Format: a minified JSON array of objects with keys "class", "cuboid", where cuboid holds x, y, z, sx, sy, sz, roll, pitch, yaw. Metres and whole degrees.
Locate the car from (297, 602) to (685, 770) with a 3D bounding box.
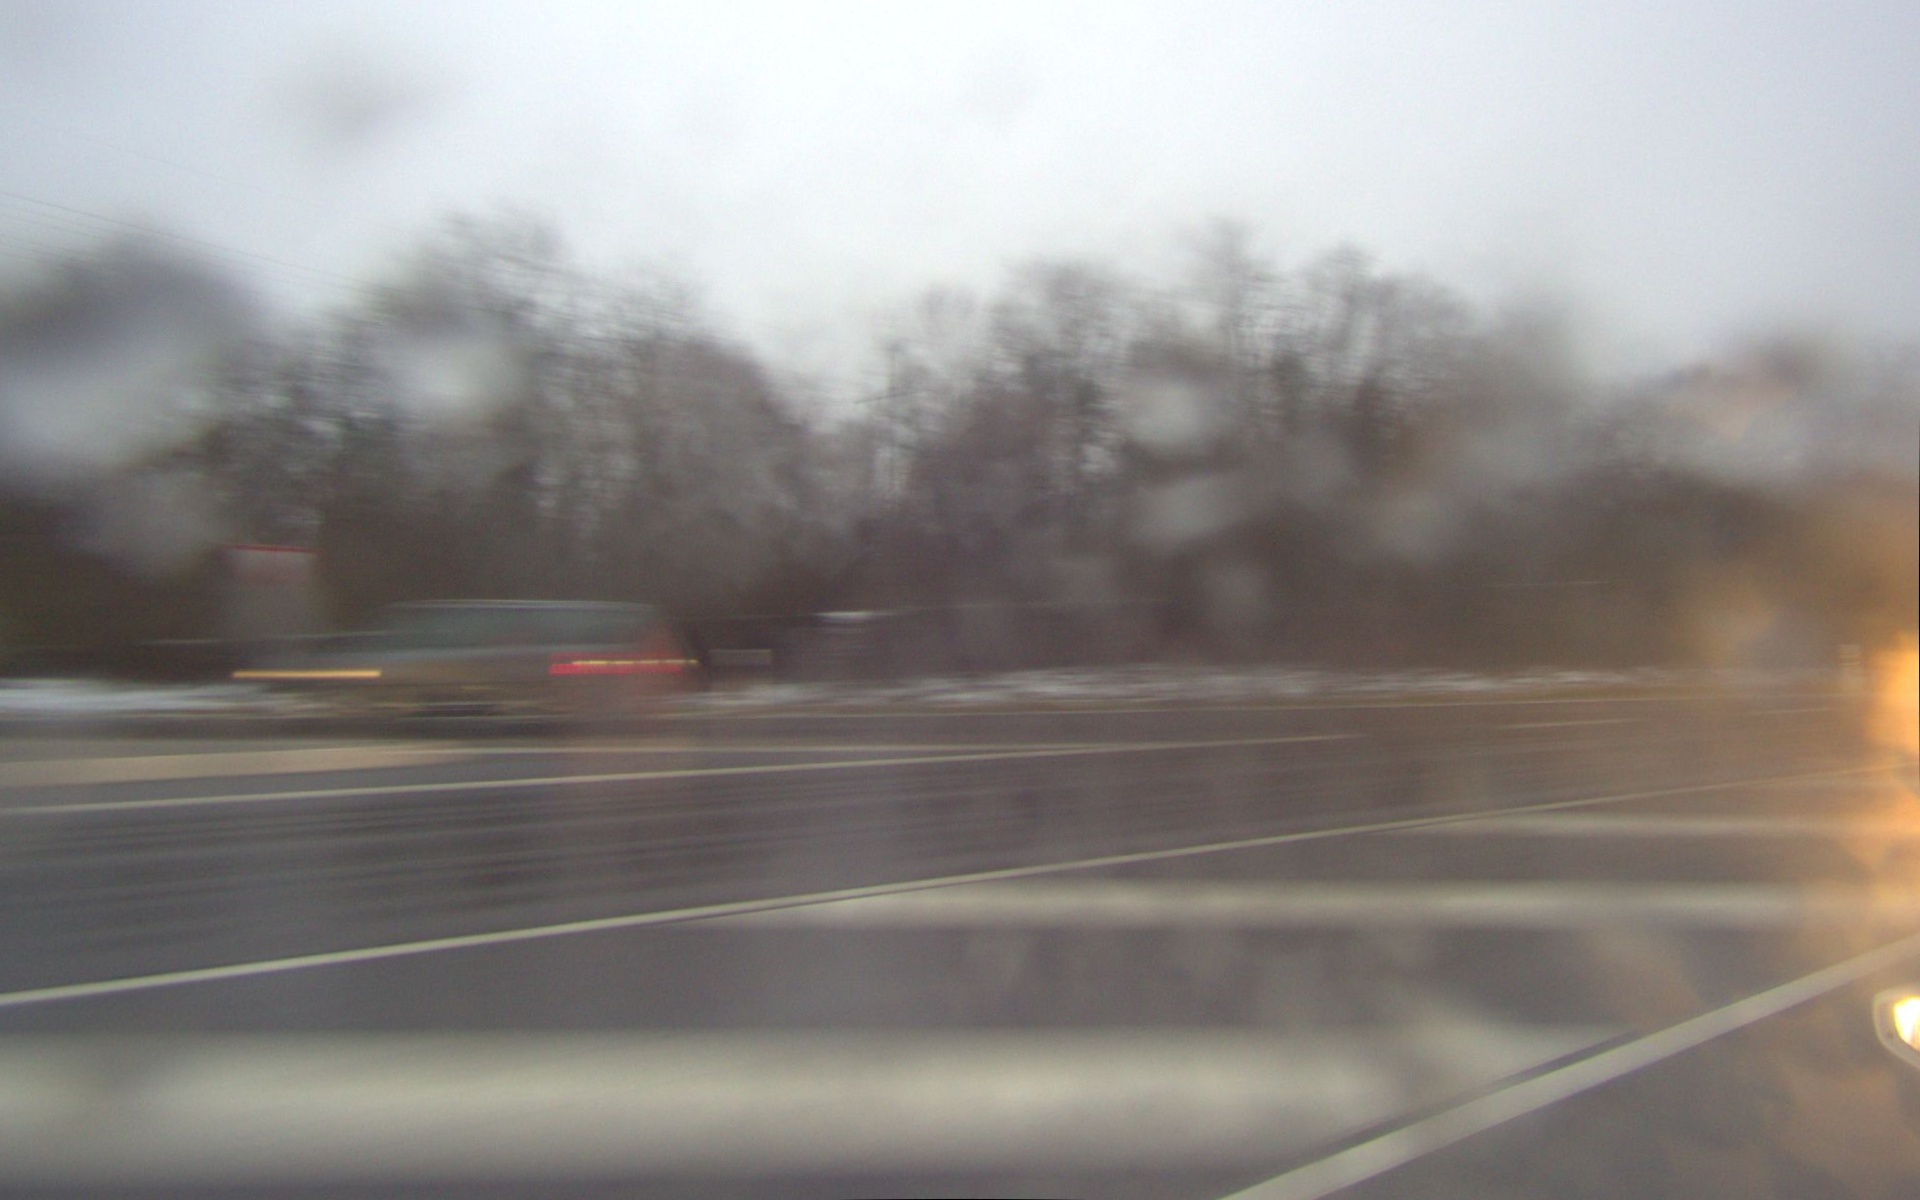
[{"class":"car","cuboid":[-6.058,1.089,13.440,4.275,1.996,1.842,2,0,-5]}]
